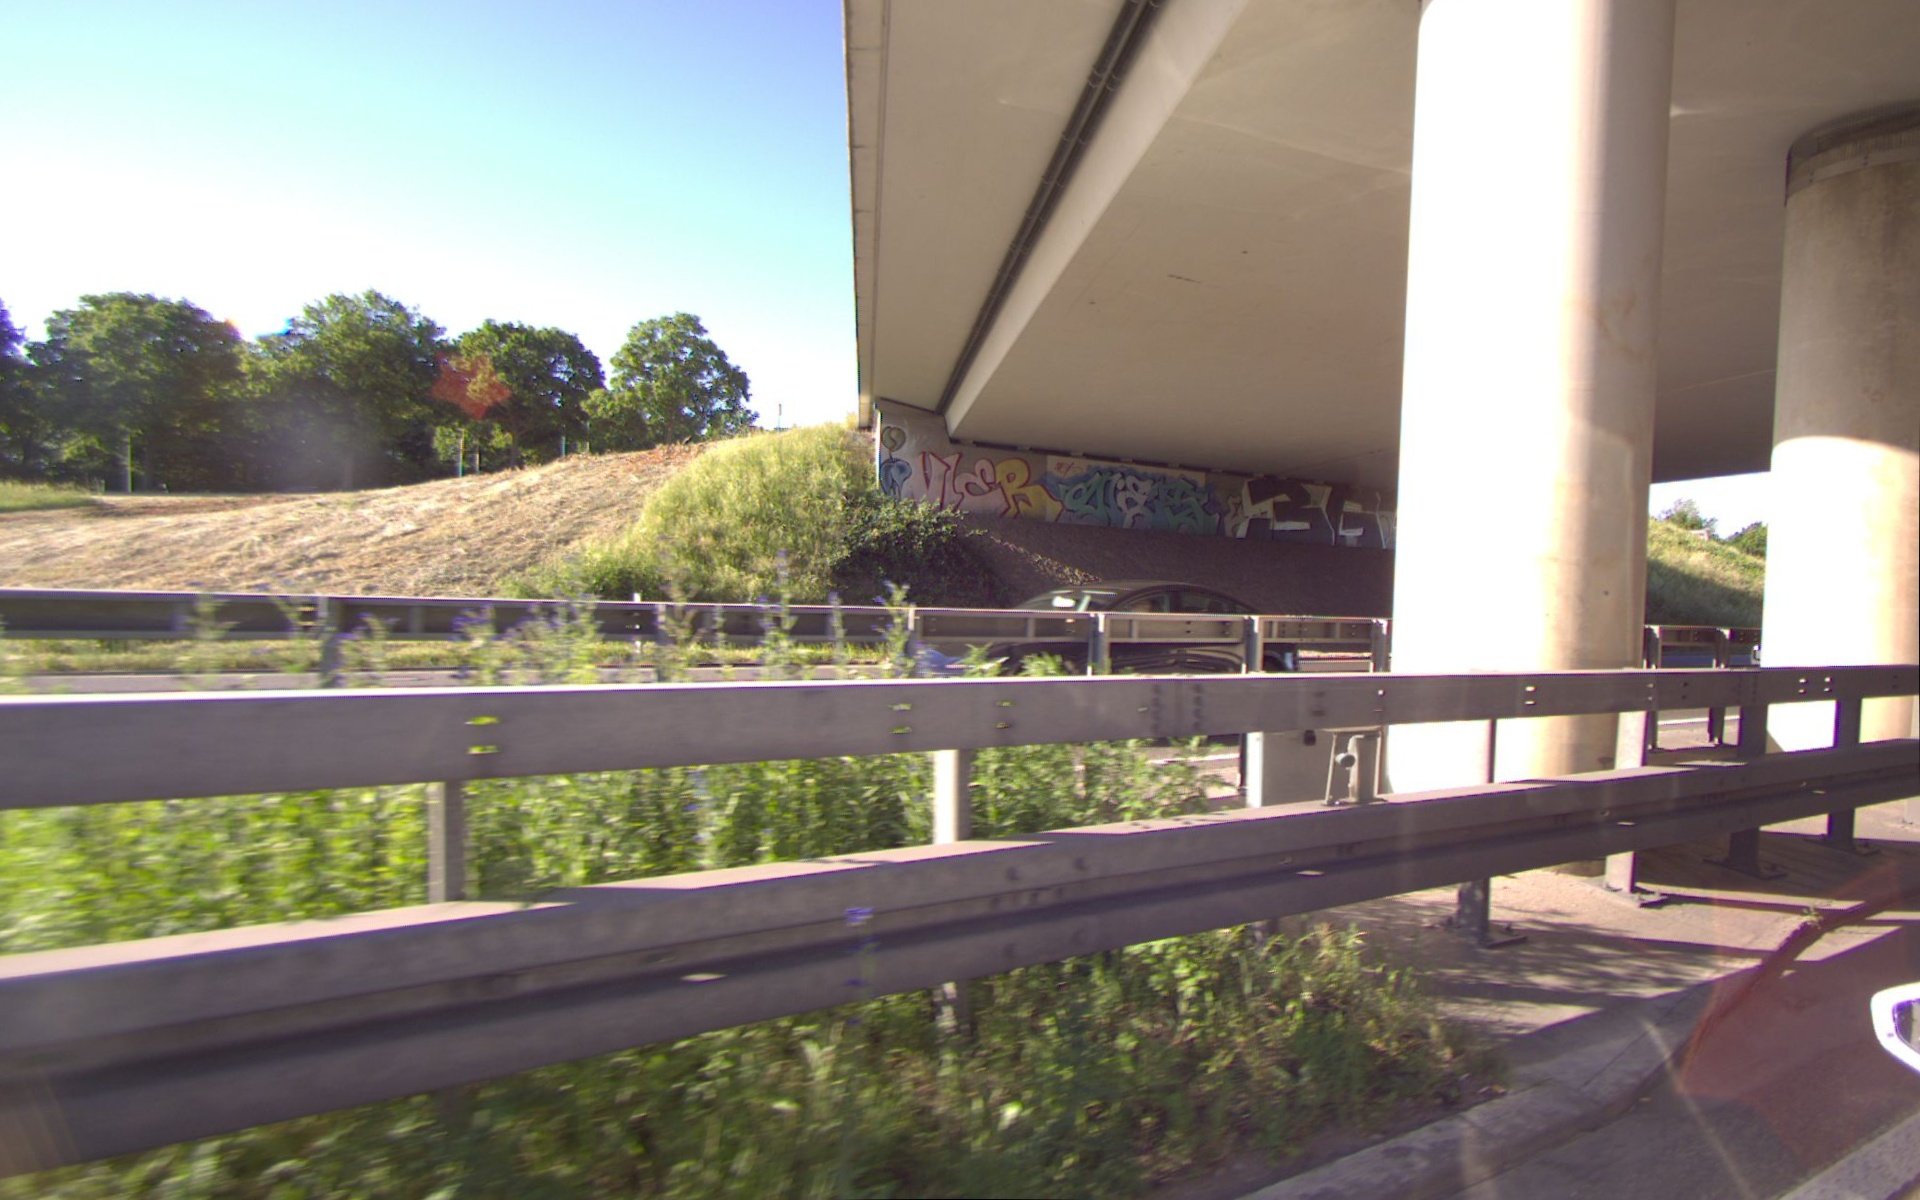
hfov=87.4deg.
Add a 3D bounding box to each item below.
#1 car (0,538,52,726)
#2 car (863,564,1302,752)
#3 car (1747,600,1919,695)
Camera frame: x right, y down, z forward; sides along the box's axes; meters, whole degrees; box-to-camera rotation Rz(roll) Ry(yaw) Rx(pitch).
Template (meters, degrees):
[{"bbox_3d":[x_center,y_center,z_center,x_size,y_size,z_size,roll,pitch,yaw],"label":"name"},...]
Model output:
[{"bbox_3d":[-9.907,0.199,7.444,4.405,1.525,1.740,2,0,-30],"label":"car"},{"bbox_3d":[1.303,0.504,10.014,4.178,1.525,1.739,2,0,-32],"label":"car"},{"bbox_3d":[16.581,0.853,18.754,3.956,1.595,1.726,2,0,-32],"label":"car"}]
